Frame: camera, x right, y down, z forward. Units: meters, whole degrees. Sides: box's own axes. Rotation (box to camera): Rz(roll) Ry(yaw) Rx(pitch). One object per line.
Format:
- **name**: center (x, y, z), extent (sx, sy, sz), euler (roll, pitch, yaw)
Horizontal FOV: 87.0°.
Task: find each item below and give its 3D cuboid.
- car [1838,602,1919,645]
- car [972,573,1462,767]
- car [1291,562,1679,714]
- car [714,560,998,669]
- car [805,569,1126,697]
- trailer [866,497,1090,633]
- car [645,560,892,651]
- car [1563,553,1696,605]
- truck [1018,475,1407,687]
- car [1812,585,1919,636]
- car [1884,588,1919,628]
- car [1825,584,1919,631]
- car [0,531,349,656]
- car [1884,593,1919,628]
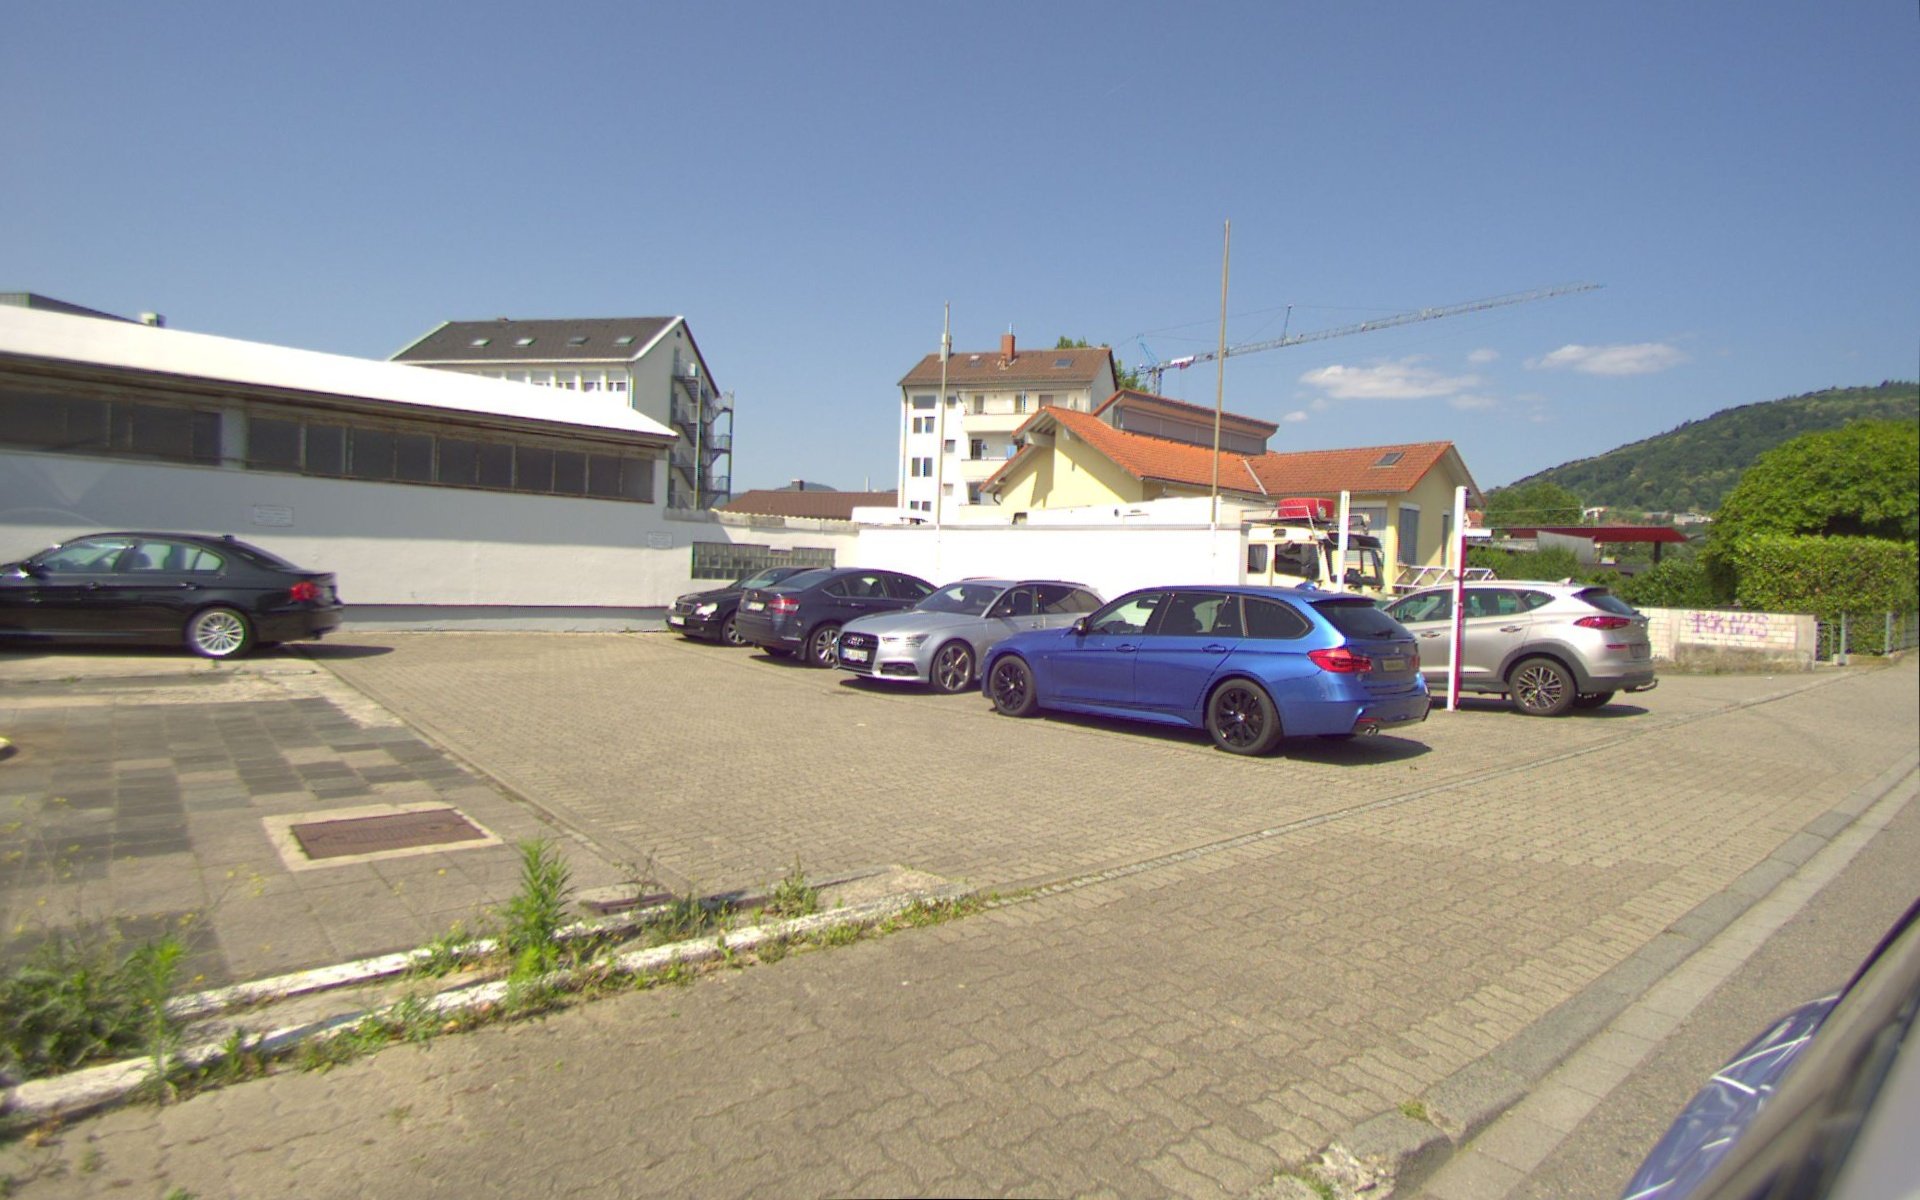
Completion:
- **car**: center (37.107, 0.946, 39.215), extent (1.864, 1.515, 4.411), euler (0, 2, -41)
- **car**: center (2.255, 0.505, 9.873), extent (1.859, 1.460, 4.360), euler (1, 0, -41)
- **car**: center (6.797, 0.483, 13.481), extent (1.736, 1.704, 4.207), euler (0, -2, -41)
- **car**: center (-1.587, 0.182, 16.160), extent (4.110, 1.459, 1.892), euler (0, 3, -38)
- **car**: center (0.206, 0.363, 14.085), extent (4.381, 1.459, 1.888), euler (0, 3, -44)
- **trailer**: center (0.314, -1.173, 33.383), extent (3.009, 3.910, 8.364), euler (0, 2, -35)
- **car**: center (-3.417, 0.061, 18.356), extent (3.952, 1.409, 1.892), euler (0, 3, -37)
- **car**: center (37.924, -1.227, 57.556), extent (5.962, 2.711, 2.239), euler (3, 3, 27)
- **truck**: center (4.638, -0.259, 20.248), extent (2.482, 3.467, 7.532), euler (0, -1, -40)
- **car**: center (33.293, 0.364, 35.949), extent (1.812, 1.674, 4.409), euler (0, 2, -42)
- **car**: center (41.448, 0.403, 42.454), extent (1.729, 1.644, 3.809), euler (1, 2, -42)
- **car**: center (35.141, 0.315, 37.542), extent (1.865, 1.546, 4.411), euler (-1, 5, -42)
- **car**: center (-9.784, -0.082, 11.972), extent (4.099, 1.341, 1.719), euler (1, 2, -20)
- **car**: center (39.404, 0.463, 40.413), extent (1.532, 1.351, 3.555), euler (1, 2, -42)
